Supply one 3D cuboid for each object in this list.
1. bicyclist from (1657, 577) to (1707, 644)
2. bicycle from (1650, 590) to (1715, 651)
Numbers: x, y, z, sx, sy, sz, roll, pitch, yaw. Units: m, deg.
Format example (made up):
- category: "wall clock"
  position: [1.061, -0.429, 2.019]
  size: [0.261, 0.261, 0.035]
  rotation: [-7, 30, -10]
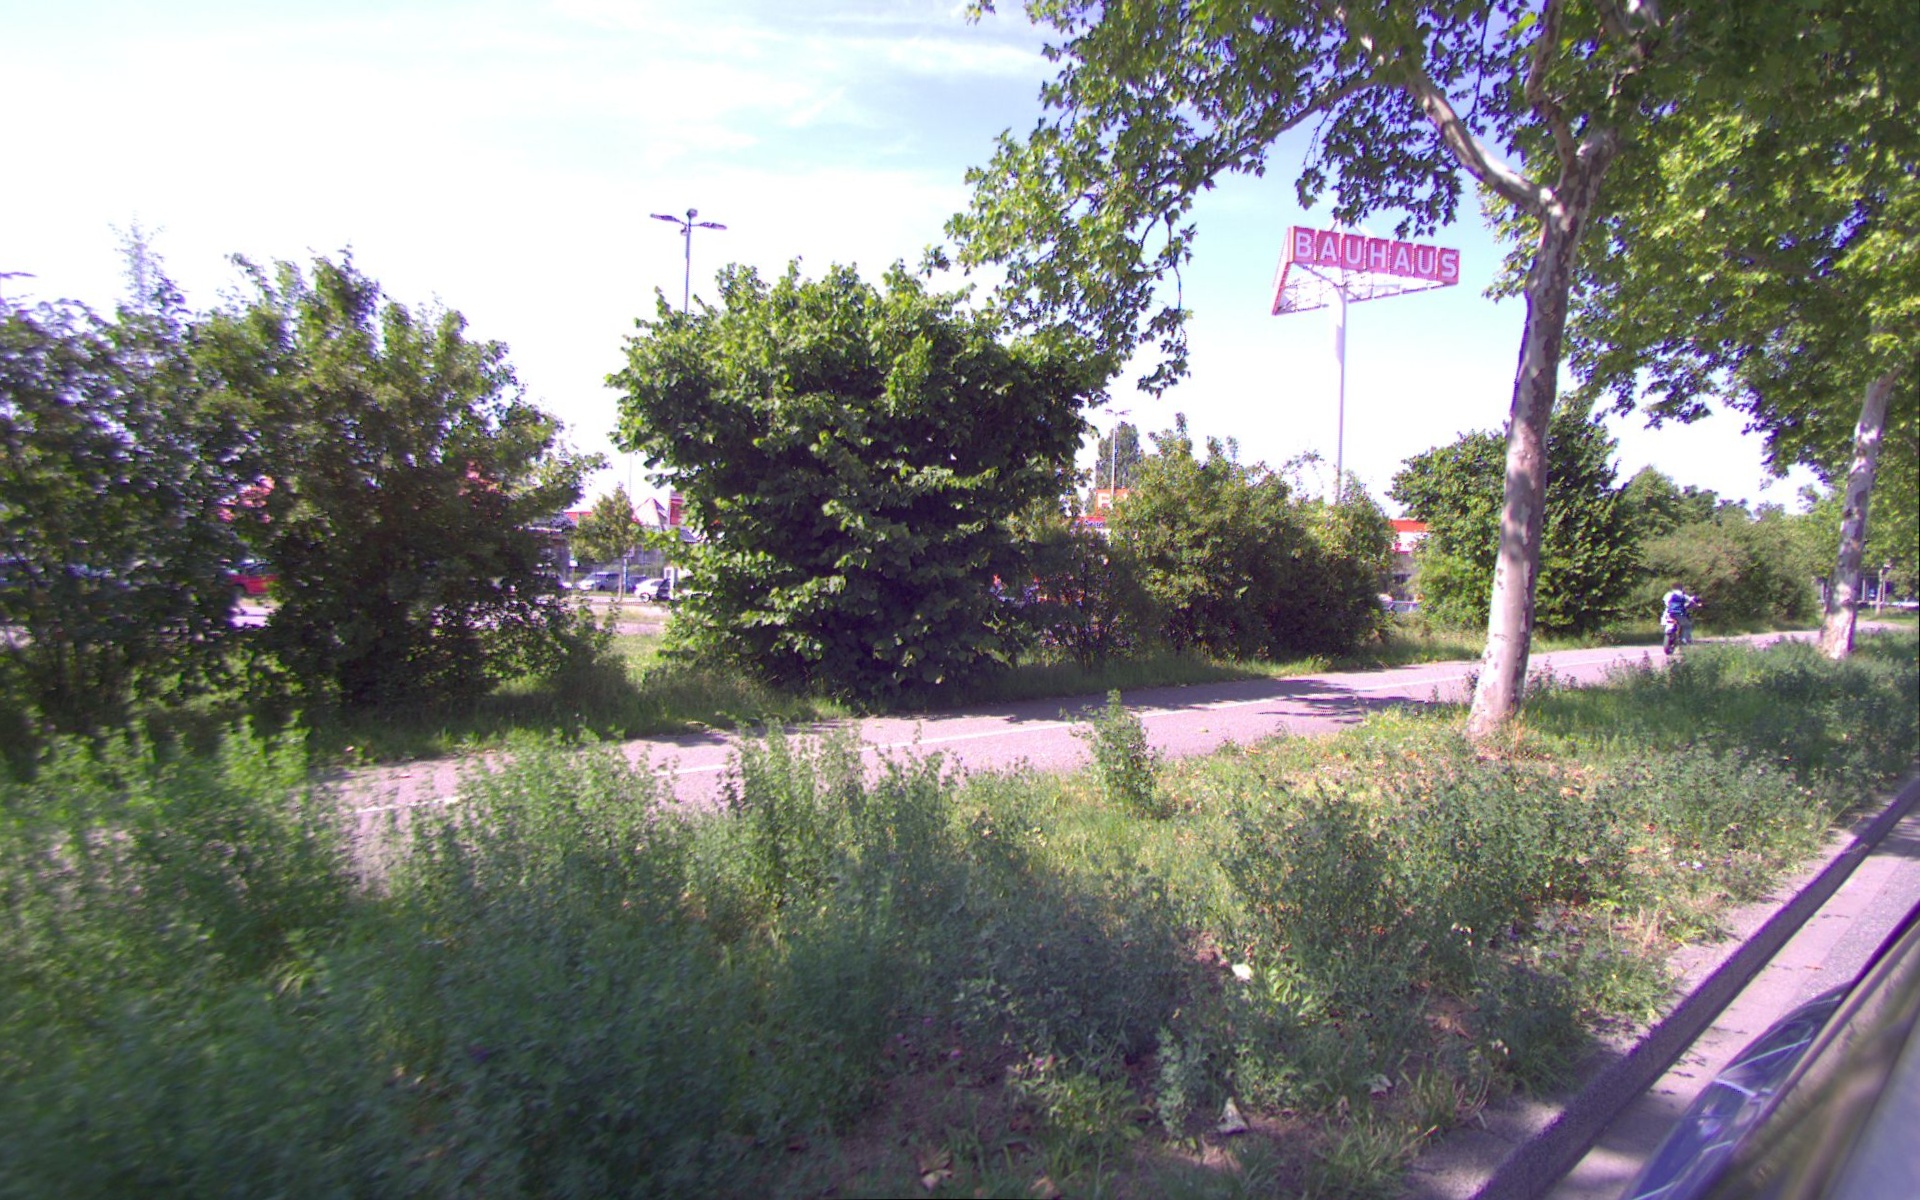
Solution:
- category: "bicyclist"
  position: [16.501, 0.229, 23.128]
  size: [0.992, 1.495, 0.705]
  rotation: [0, 0, -40]
- category: "bicycle"
  position: [16.509, 0.446, 23.112]
  size: [2.058, 1.315, 0.724]
  rotation: [-1, 1, -40]
